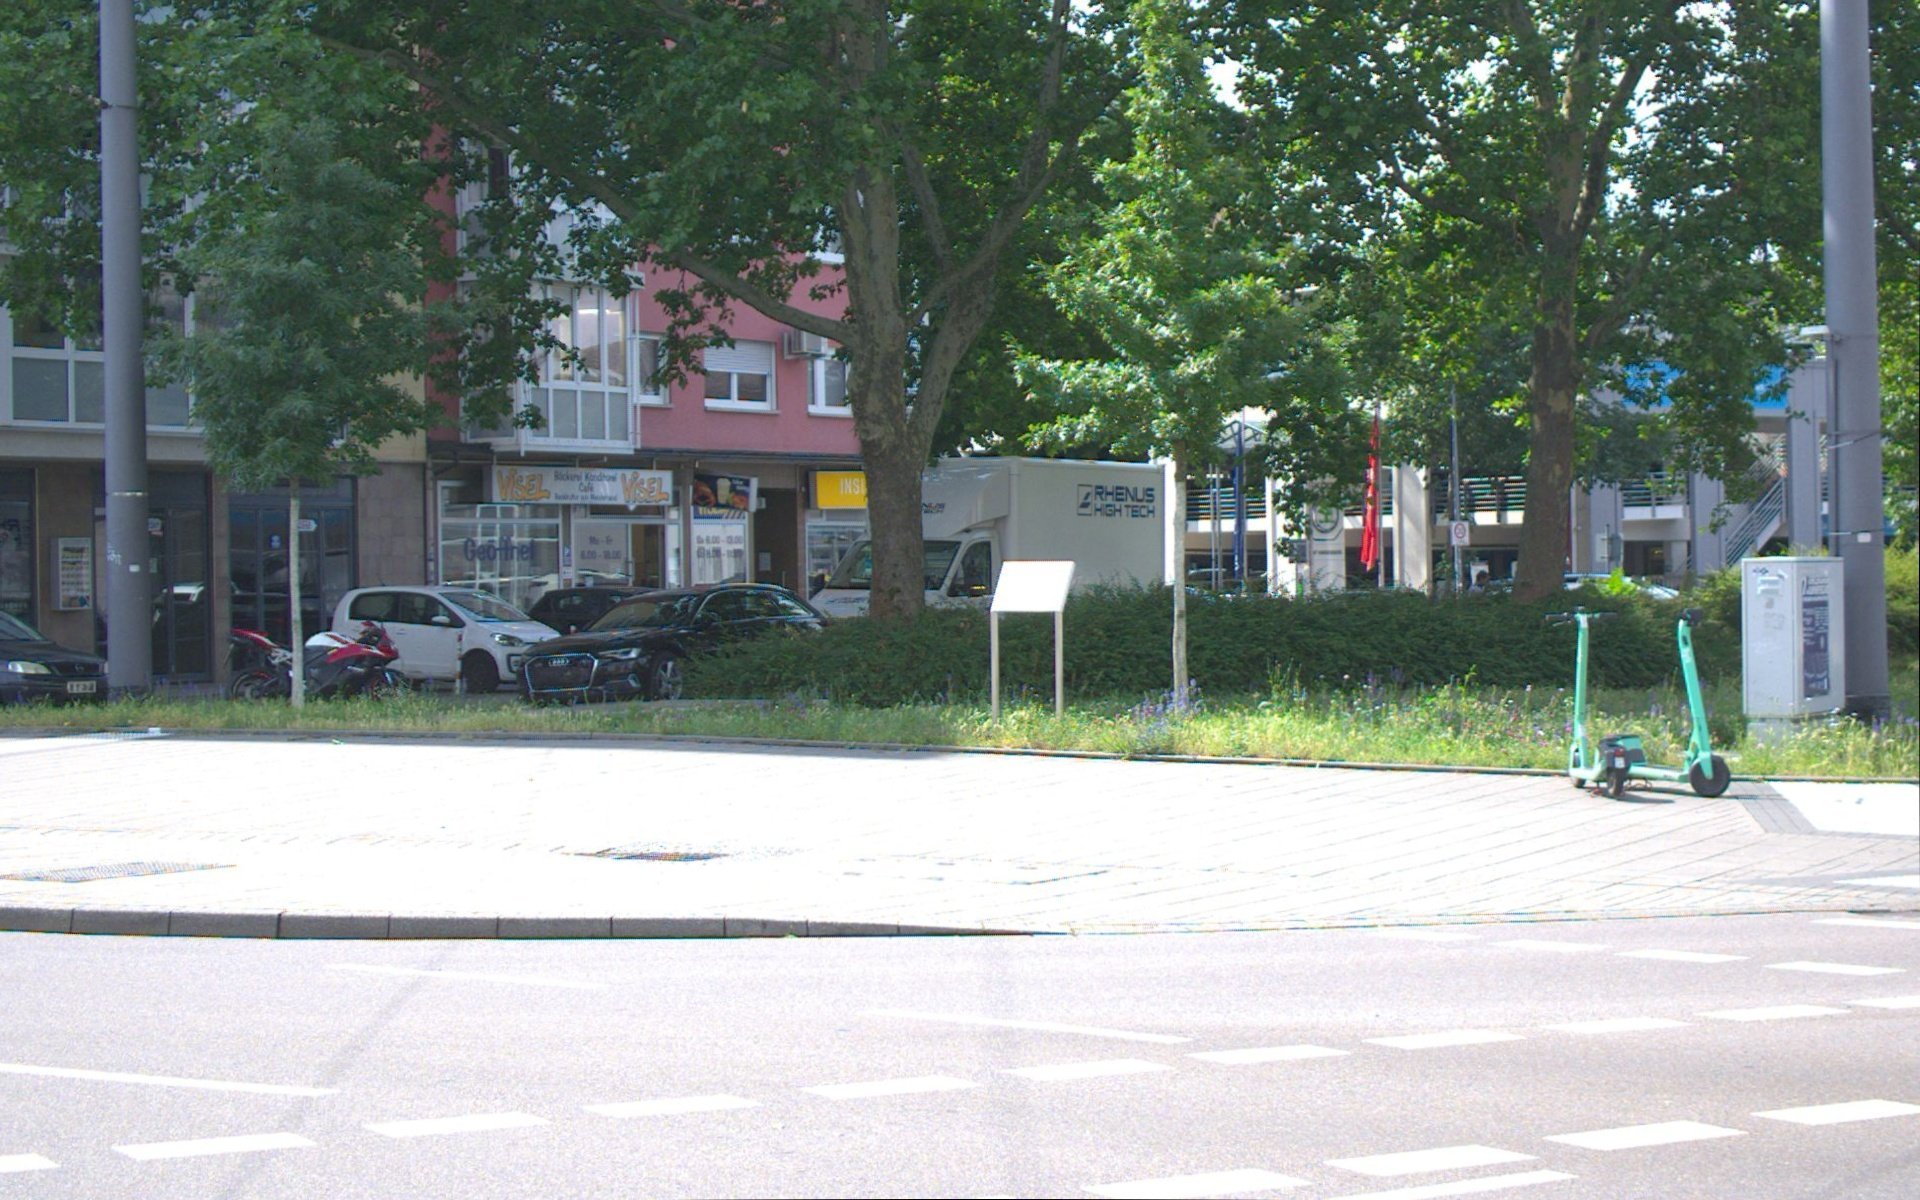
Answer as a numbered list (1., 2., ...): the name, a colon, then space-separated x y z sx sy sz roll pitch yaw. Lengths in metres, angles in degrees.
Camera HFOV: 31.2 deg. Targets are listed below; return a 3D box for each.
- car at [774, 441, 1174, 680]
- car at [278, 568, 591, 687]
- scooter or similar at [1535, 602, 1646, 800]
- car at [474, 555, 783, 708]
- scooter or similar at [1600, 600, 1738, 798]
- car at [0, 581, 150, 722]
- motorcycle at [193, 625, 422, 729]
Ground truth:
1. car: 0.339 -0.545 47.210 1.997 3.032 7.236 -1 0 31
2. car: -7.389 0.352 48.263 4.089 1.509 1.806 2 2 30
3. scooter or similar: 3.976 0.624 21.722 0.380 1.192 1.065 1 1 -6
4. car: -3.904 0.347 41.145 1.996 1.700 3.995 -1 1 23
5. scooter or similar: 4.500 0.616 21.863 0.380 1.192 1.065 1 1 -16
6. car: -11.396 0.567 39.119 4.089 1.509 1.806 0 1 30
7. motorcycle: -6.743 0.790 35.584 2.286 1.027 0.975 -1 -1 -10
